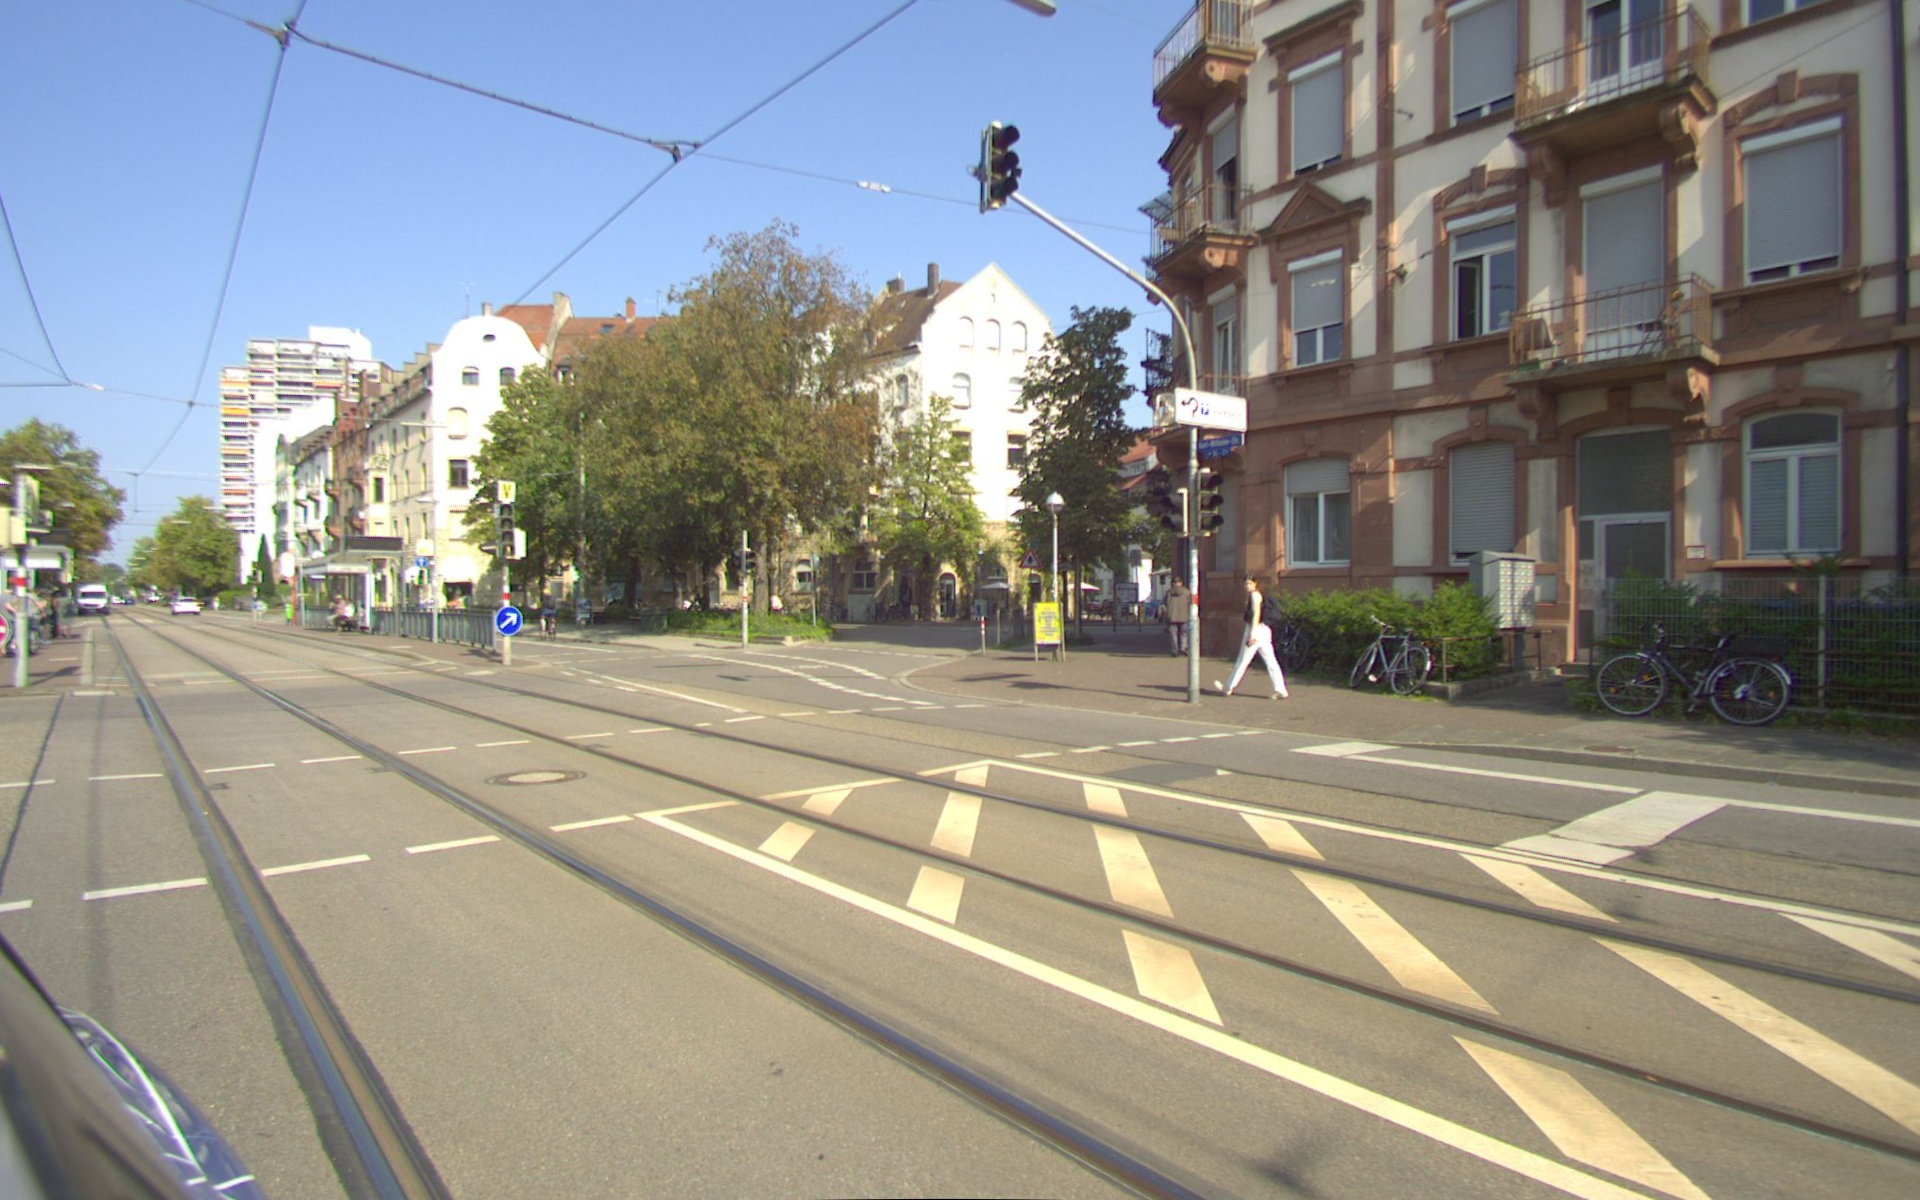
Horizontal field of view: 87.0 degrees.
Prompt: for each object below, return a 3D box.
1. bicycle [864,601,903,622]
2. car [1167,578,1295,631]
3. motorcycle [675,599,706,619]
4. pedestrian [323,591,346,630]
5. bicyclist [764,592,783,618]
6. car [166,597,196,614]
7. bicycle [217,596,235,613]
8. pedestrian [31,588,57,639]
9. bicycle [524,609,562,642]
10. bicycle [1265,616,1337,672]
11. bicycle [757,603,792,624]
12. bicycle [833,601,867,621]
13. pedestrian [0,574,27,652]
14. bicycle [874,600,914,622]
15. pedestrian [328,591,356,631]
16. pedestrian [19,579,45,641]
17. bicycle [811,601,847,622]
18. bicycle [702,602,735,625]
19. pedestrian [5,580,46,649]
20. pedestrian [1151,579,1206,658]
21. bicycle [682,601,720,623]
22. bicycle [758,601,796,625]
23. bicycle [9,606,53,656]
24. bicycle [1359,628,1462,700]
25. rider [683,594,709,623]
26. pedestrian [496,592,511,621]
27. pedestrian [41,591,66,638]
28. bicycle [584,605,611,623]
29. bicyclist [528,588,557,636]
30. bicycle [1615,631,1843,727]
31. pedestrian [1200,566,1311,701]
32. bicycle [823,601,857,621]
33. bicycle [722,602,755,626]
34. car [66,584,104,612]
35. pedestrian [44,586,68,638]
[{"bbox_3d":[-4.110,0.612,54.474,2.057,1.112,0.658,0,0,-33],"label":"bicycle"},{"bbox_3d":[10.829,0.159,40.455,4.513,2.032,2.087,0,0,-18],"label":"car"},{"bbox_3d":[-16.869,0.553,63.309,0.676,1.186,1.862,0,1,34],"label":"motorcycle"},{"bbox_3d":[-23.623,0.400,38.211,0.668,1.467,0.719,0,0,-40],"label":"pedestrian"},{"bbox_3d":[-9.791,0.269,53.264,0.758,1.370,0.647,0,0,38],"label":"bicyclist"},{"bbox_3d":[-67.664,0.497,87.879,1.708,1.445,3.925,0,0,-44],"label":"car"},{"bbox_3d":[-83.695,0.487,115.386,3.556,1.872,1.001,0,2,44],"label":"bicycle"},{"bbox_3d":[-31.748,0.462,35.088,0.628,1.761,0.635,0,0,-39],"label":"pedestrian"},{"bbox_3d":[-14.602,0.866,35.369,0.675,1.112,2.073,0,0,-39],"label":"bicycle"},{"bbox_3d":[5.813,0.733,17.356,0.520,0.866,1.829,0,0,-3],"label":"bicycle"},{"bbox_3d":[-9.778,0.706,53.258,2.070,1.112,0.647,0,0,39],"label":"bicycle"},{"bbox_3d":[-6.300,0.612,57.852,0.647,1.112,2.336,0,0,-43],"label":"bicycle"},{"bbox_3d":[-22.227,0.292,23.598,0.681,1.779,0.797,0,0,-42],"label":"pedestrian"},{"bbox_3d":[-3.488,0.561,53.498,2.057,1.112,0.658,0,0,-33],"label":"bicycle"},{"bbox_3d":[-22.854,0.390,37.444,0.782,1.467,0.719,0,0,-40],"label":"pedestrian"},{"bbox_3d":[-26.925,0.274,29.365,0.545,1.774,0.534,0,0,-42],"label":"pedestrian"},{"bbox_3d":[-7.365,0.639,56.780,0.762,1.112,2.336,0,0,-43],"label":"bicycle"},{"bbox_3d":[-14.832,0.813,62.313,0.861,1.381,2.288,0,0,20],"label":"bicycle"},{"bbox_3d":[-24.270,0.363,26.295,0.758,1.774,0.681,0,0,-42],"label":"pedestrian"},{"bbox_3d":[4.476,0.373,20.761,0.829,1.582,0.947,0,0,-7],"label":"pedestrian"},{"bbox_3d":[-16.060,0.733,62.853,0.866,1.381,2.274,0,0,38],"label":"bicycle"},{"bbox_3d":[-10.887,0.781,60.197,0.866,1.381,2.275,0,0,37],"label":"bicycle"},{"bbox_3d":[-21.834,0.709,23.815,0.466,1.112,1.742,0,0,-33],"label":"bicycle"},{"bbox_3d":[6.152,0.847,13.925,0.520,0.866,1.829,0,0,-3],"label":"bicycle"},{"bbox_3d":[-14.346,0.457,54.976,0.981,1.523,1.117,-1,1,-37],"label":"rider"},{"bbox_3d":[-30.223,0.414,67.016,0.725,1.882,0.673,0,0,-45],"label":"pedestrian"},{"bbox_3d":[-30.188,0.471,33.721,0.581,1.556,0.608,0,0,-39],"label":"pedestrian"},{"bbox_3d":[-23.204,0.884,64.750,0.688,1.087,2.337,0,0,6],"label":"bicycle"},{"bbox_3d":[-14.570,0.414,35.323,0.664,1.626,1.046,0,0,-39],"label":"bicyclist"},{"bbox_3d":[7.987,0.784,10.596,0.519,0.866,1.832,0,0,-38],"label":"bicycle"},{"bbox_3d":[4.110,0.443,14.123,0.893,1.779,1.188,0,0,-37],"label":"pedestrian"},{"bbox_3d":[-6.827,0.628,57.306,0.647,1.112,2.336,0,0,-43],"label":"bicycle"},{"bbox_3d":[-13.460,0.842,61.469,0.861,1.381,2.288,0,0,20],"label":"bicycle"},{"bbox_3d":[-74.049,-0.141,85.669,2.055,2.294,4.838,0,0,-36],"label":"car"},{"bbox_3d":[-30.581,0.391,34.237,0.581,1.734,0.608,0,0,-39],"label":"pedestrian"}]
